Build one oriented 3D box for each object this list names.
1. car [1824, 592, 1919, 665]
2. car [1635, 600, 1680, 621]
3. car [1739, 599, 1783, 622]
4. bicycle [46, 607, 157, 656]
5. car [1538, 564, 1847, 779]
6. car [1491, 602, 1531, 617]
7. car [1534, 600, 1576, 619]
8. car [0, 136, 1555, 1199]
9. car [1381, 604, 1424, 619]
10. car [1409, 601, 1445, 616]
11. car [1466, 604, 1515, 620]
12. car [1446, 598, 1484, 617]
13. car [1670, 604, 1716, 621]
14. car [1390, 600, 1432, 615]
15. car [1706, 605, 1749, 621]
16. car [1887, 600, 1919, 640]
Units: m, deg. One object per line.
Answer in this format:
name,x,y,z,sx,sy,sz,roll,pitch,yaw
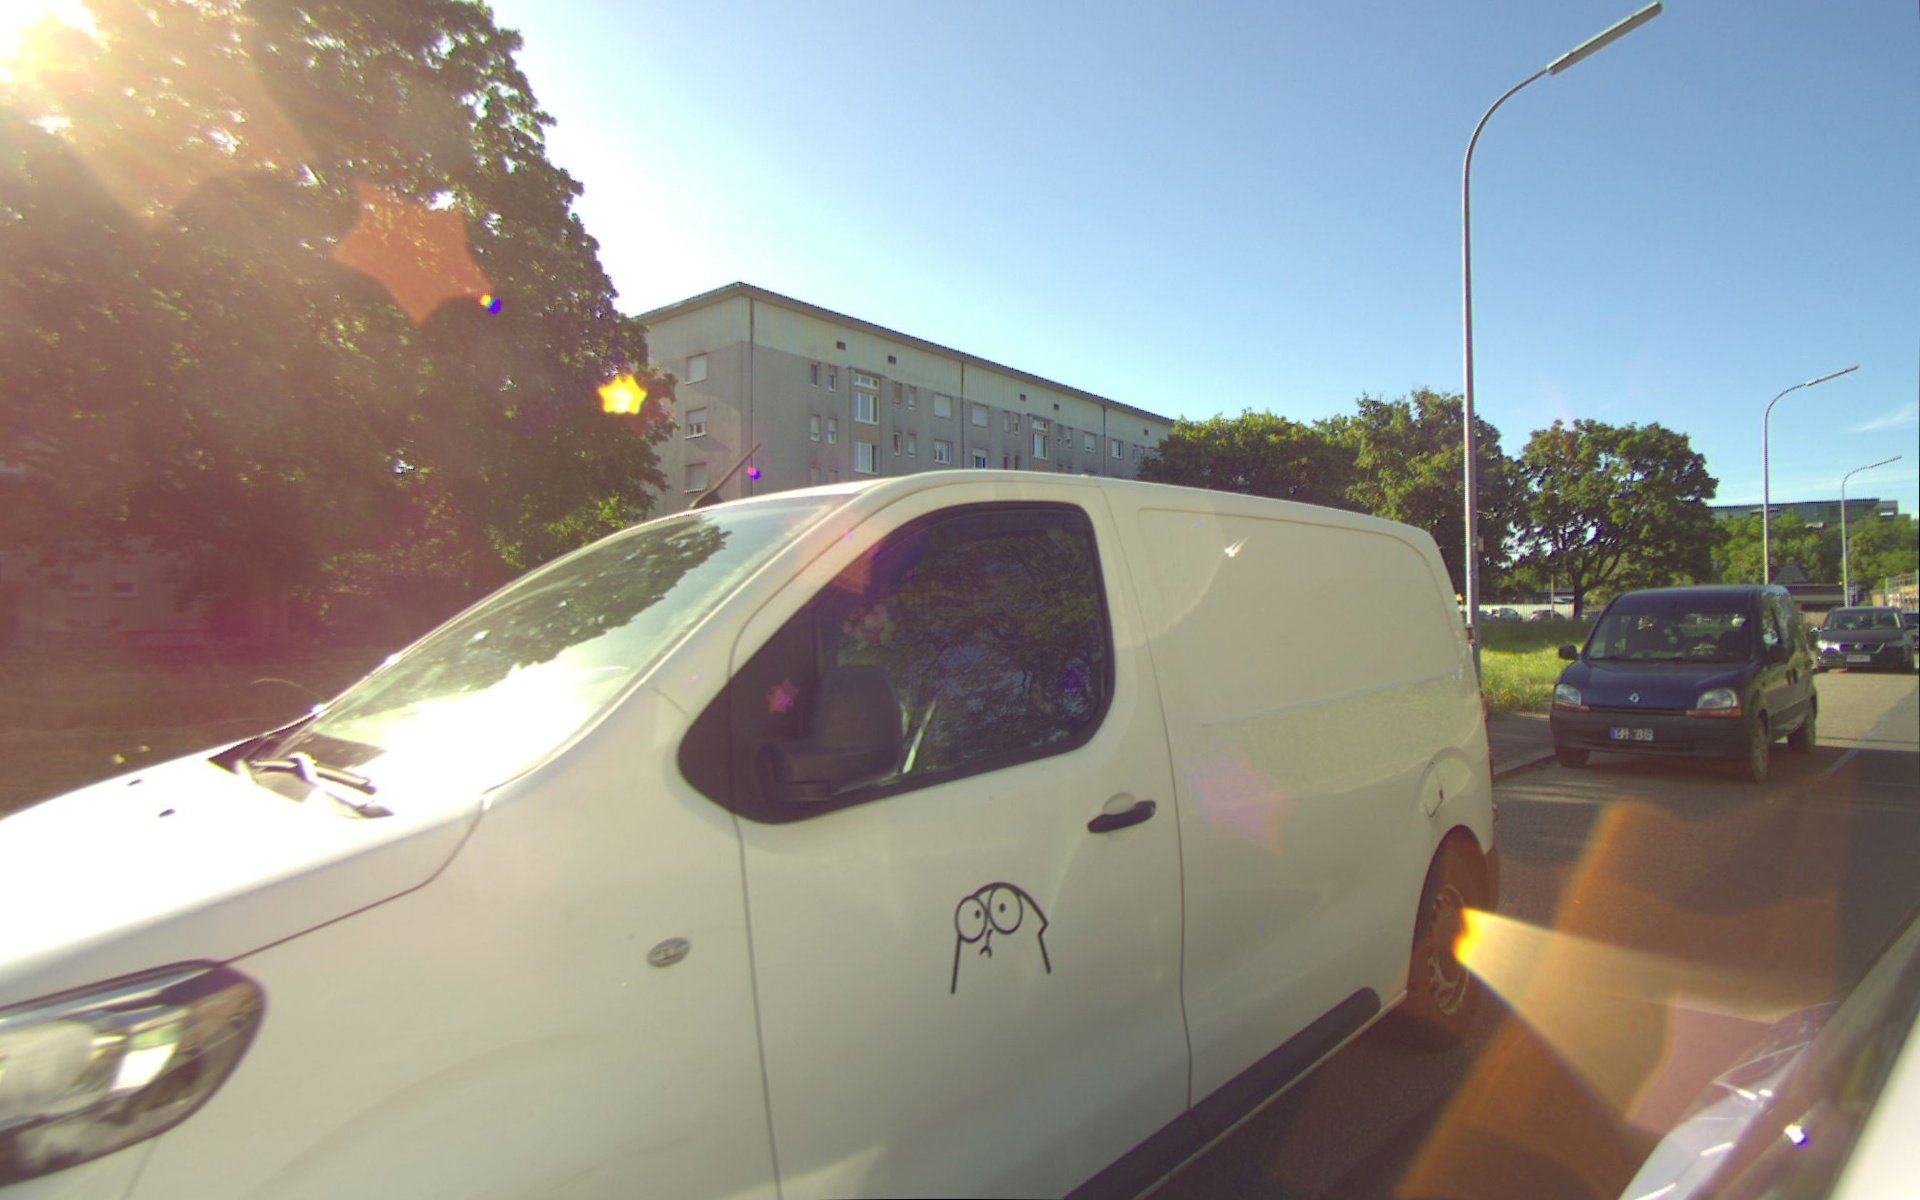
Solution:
car,23.004,0.679,25.318,1.838,1.673,4.398,-2,-2,43
car,63.329,0.942,91.870,3.920,1.796,1.863,0,0,-30
car,67.700,0.885,85.490,3.925,1.883,1.956,0,0,-36
bicycle,-28.402,1.010,33.532,0.779,1.544,2.715,0,0,41
car,7.521,0.601,10.250,4.013,1.753,1.699,0,-2,-42
car,57.211,0.990,105.069,3.920,1.581,1.959,0,0,-30
car,59.429,0.918,101.087,3.921,1.795,1.959,-2,1,-30
car,-0.126,0.547,2.937,4.784,1.896,1.916,0,-2,-44
car,45.707,1.171,104.638,1.959,1.469,3.645,0,0,-26
car,52.631,0.957,114.086,3.920,1.581,1.802,0,0,-31
car,49.992,1.114,95.438,1.959,1.543,3.645,0,0,-26
car,54.723,0.758,109.663,3.922,2.039,2.001,0,0,-33
car,65.285,1.065,90.159,3.920,1.489,1.867,0,0,-30
car,51.943,0.840,116.449,4.607,1.767,1.960,0,0,-27
car,66.333,1.111,87.447,3.923,1.341,1.782,0,0,-34
car,37.263,0.747,39.279,3.852,1.499,1.652,0,-3,-44
